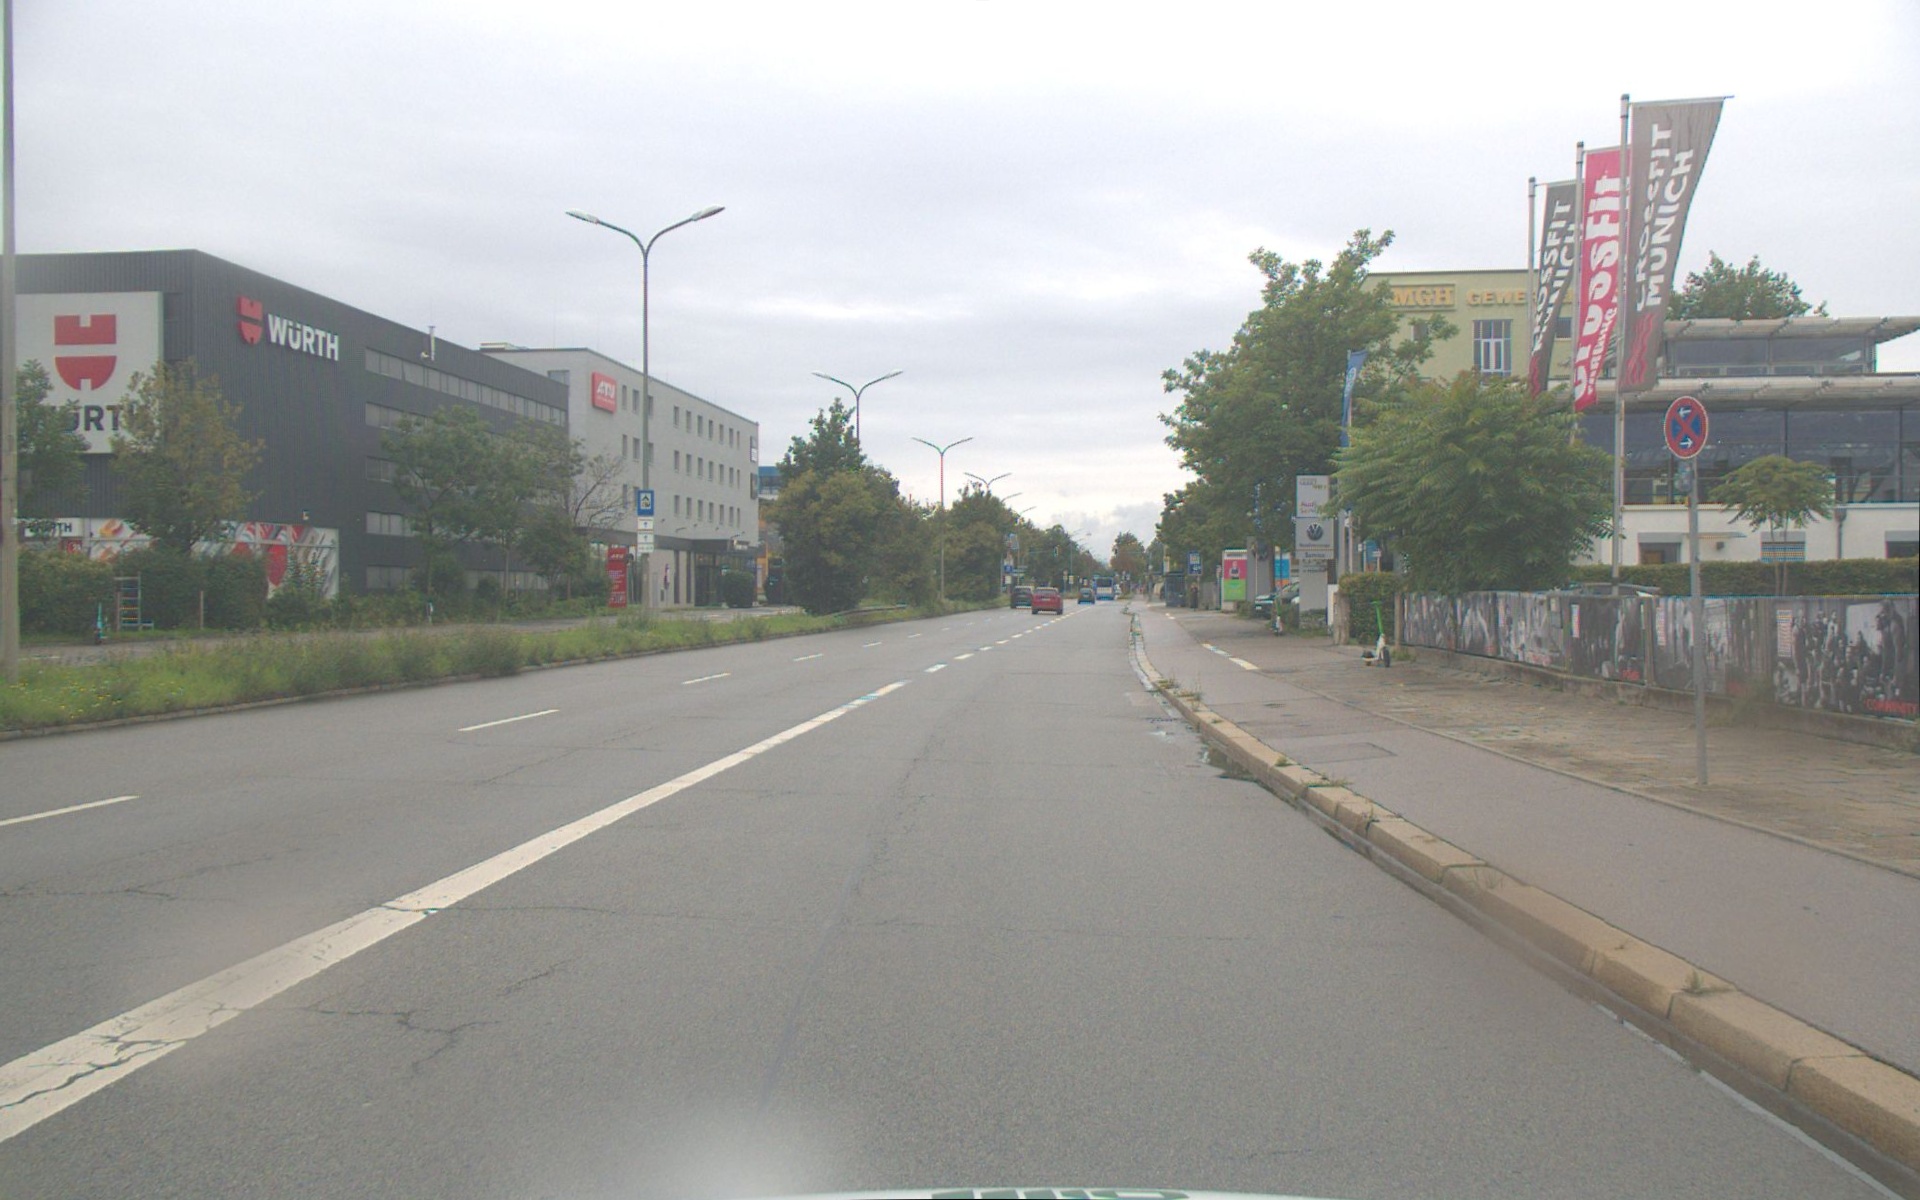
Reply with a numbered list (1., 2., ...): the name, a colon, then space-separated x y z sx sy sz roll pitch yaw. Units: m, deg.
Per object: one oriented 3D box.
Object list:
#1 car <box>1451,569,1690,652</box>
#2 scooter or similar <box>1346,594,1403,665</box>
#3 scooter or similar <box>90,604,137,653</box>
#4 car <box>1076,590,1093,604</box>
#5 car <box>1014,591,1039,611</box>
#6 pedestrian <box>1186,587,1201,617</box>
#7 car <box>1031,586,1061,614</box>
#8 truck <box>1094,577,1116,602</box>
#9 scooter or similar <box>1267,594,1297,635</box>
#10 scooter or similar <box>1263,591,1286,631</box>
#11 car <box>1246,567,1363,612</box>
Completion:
1. car: 11.545 0.191 31.492 3.929 1.486 1.794 -1 0 6
2. scooter or similar: 7.608 0.540 30.428 0.389 1.244 1.637 -3 -1 -7
3. scooter or similar: -22.477 0.753 43.954 0.436 1.249 1.388 -1 0 4
4. car: 13.014 -0.355 172.891 1.765 1.457 4.002 -1 0 4
5. car: 5.019 0.059 124.606 1.765 1.457 4.002 -1 0 4
6. pedestrian: 14.442 0.124 102.337 0.742 1.758 0.895 -4 0 1
7. car: 5.270 -0.011 101.368 1.823 1.646 4.002 0 0 3
8. truck: 20.047 -1.458 229.147 2.906 3.343 7.920 -1 0 4
9. scooter or similar: 10.001 0.433 51.408 0.486 1.225 1.429 -4 0 -4
10. scooter or similar: 10.197 0.358 53.668 0.485 1.225 1.431 -4 1 3
11. car: 14.933 -0.456 71.660 4.513 1.736 1.999 -3 -1 -15
